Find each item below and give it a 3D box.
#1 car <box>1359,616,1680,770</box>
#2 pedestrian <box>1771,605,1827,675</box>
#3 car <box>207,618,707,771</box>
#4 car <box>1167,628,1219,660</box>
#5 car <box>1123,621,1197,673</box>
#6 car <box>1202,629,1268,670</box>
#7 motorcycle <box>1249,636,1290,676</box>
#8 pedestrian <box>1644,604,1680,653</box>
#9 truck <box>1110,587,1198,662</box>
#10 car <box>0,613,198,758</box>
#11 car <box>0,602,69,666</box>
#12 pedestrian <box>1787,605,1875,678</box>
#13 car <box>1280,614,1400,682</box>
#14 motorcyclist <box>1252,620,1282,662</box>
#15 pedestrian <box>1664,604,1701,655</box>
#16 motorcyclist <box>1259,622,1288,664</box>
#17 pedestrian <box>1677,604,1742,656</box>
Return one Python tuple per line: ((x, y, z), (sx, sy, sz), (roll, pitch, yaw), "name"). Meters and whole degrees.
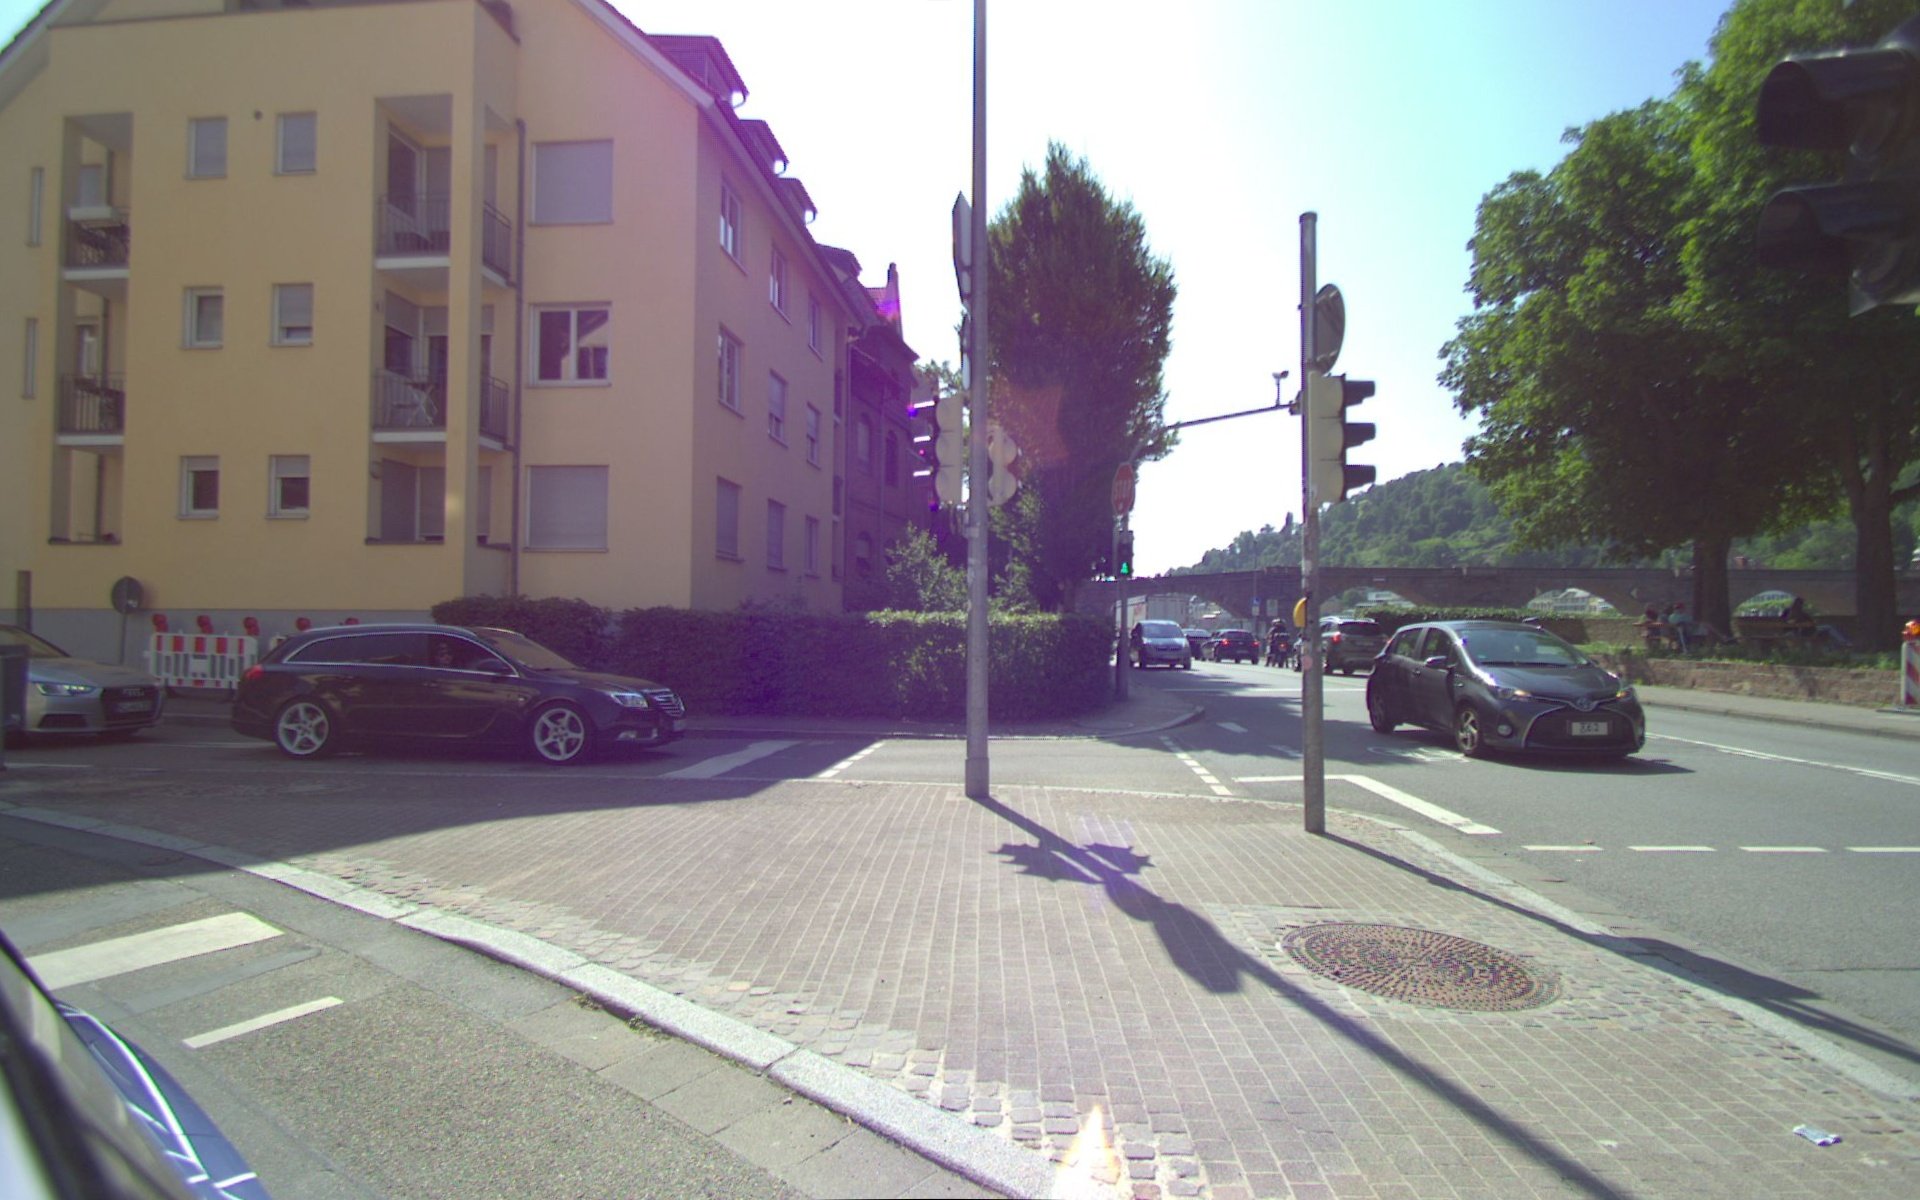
((6.350, 0.976, 12.046), (1.704, 1.510, 3.879), (1, -1, 1), "car")
((18.249, 0.865, 22.027), (0.795, 1.504, 0.467), (1, -2, 7), "pedestrian")
((-5.352, 1.009, 11.170), (4.661, 1.473, 1.718), (1, -4, 2), "car")
((11.586, 2.178, 50.527), (1.900, 1.519, 3.994), (0, -2, 4), "car")
((6.600, 1.529, 33.779), (1.669, 1.623, 3.739), (-1, -1, -1), "car")
((11.541, 2.038, 42.710), (1.974, 1.608, 3.994), (0, -2, 4), "car")
((11.448, 2.050, 37.543), (0.753, 1.387, 2.471), (1, -2, 0), "motorcycle")
((18.525, 0.748, 26.715), (0.624, 1.280, 0.467), (1, -2, 7), "pedestrian")
((11.989, 1.576, 64.014), (3.169, 4.246, 12.762), (1, -2, 0), "truck")
((-11.574, 0.890, 11.597), (4.324, 1.504, 1.876), (1, -2, 2), "car")
((-24.142, 0.824, 24.283), (1.829, 1.556, 3.994), (0, -1, 5), "car")
((18.447, 0.874, 21.455), (1.368, 1.490, 0.467), (1, -2, 7), "pedestrian")
((11.202, 1.361, 30.184), (1.818, 1.766, 4.409), (3, -1, 0), "car")
((11.466, 1.512, 37.817), (0.807, 1.506, 0.874), (0, 0, 0), "motorcyclist")
((18.439, 0.748, 25.833), (0.624, 1.280, 0.467), (1, -2, 7), "pedestrian")
((11.456, 1.585, 37.026), (0.807, 1.504, 0.773), (1, -2, 0), "motorcyclist")
((18.698, 0.750, 25.253), (1.209, 1.280, 0.467), (1, -2, 7), "pedestrian")
